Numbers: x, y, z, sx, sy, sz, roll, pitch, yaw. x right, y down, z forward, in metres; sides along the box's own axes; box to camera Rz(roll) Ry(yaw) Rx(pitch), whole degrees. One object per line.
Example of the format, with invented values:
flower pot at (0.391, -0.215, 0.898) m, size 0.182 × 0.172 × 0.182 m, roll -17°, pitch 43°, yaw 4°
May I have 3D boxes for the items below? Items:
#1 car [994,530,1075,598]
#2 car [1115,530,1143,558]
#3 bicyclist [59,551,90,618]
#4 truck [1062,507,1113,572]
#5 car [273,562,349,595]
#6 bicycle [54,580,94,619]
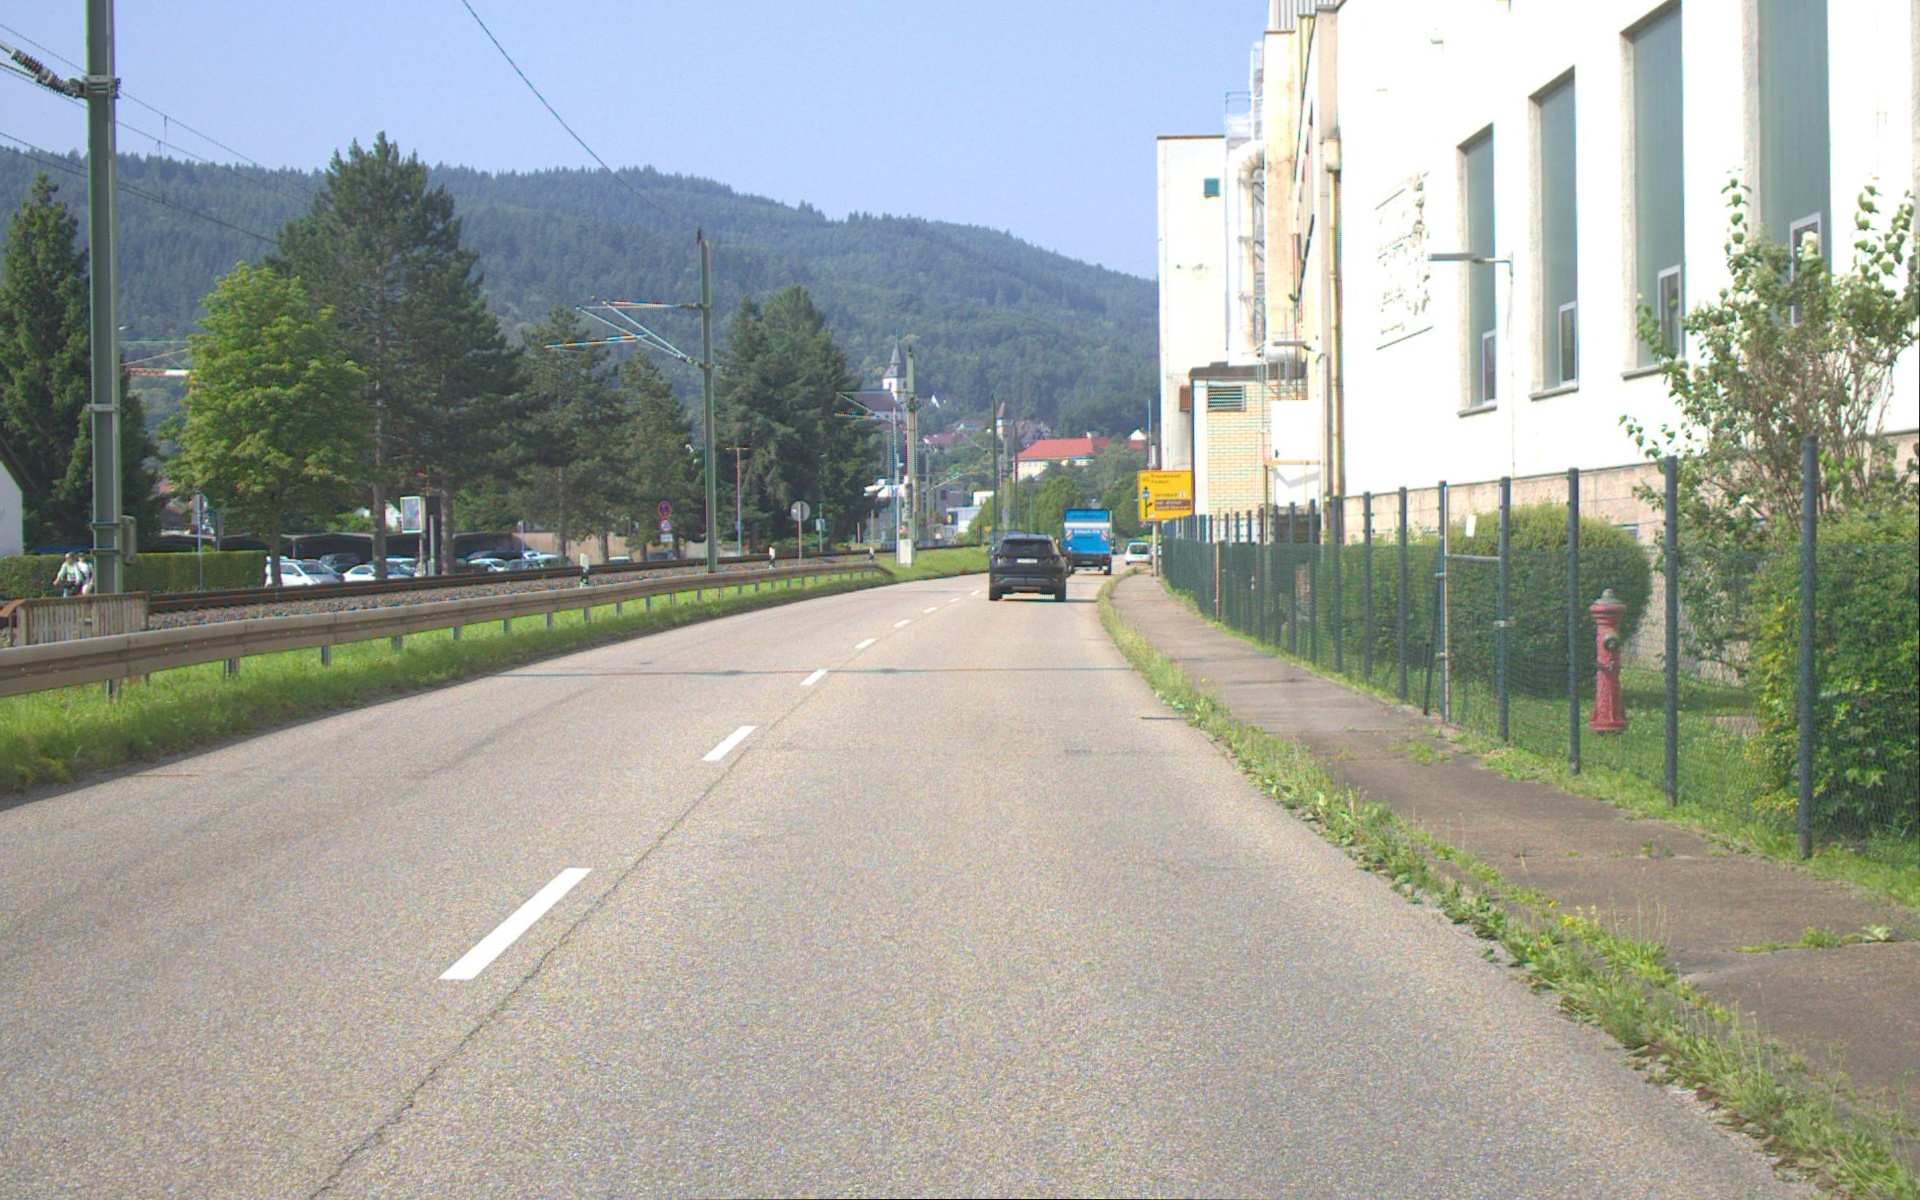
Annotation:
car at (1.867, -0.904, 85.436) m, size 1.919 × 1.634 × 4.000 m, roll 0°, pitch 1°, yaw 3°
car at (11.042, -3.667, 224.773) m, size 1.667 × 1.816 × 3.751 m, roll 0°, pitch 1°, yaw 5°
bicyclist at (-21.851, -0.392, 84.869) m, size 0.532 × 1.641 × 0.832 m, roll -1°, pitch 1°, yaw -1°
truck at (5.976, -2.827, 160.440) m, size 2.312 × 2.960 × 5.965 m, roll 0°, pitch 1°, yaw 2°
car at (-29.223, -0.982, 154.678) m, size 1.683 × 1.438 × 3.851 m, roll -2°, pitch 1°, yaw -39°
bicycle at (-21.839, -0.022, 84.755) m, size 0.545 × 0.920 × 1.710 m, roll -1°, pitch 1°, yaw -1°
